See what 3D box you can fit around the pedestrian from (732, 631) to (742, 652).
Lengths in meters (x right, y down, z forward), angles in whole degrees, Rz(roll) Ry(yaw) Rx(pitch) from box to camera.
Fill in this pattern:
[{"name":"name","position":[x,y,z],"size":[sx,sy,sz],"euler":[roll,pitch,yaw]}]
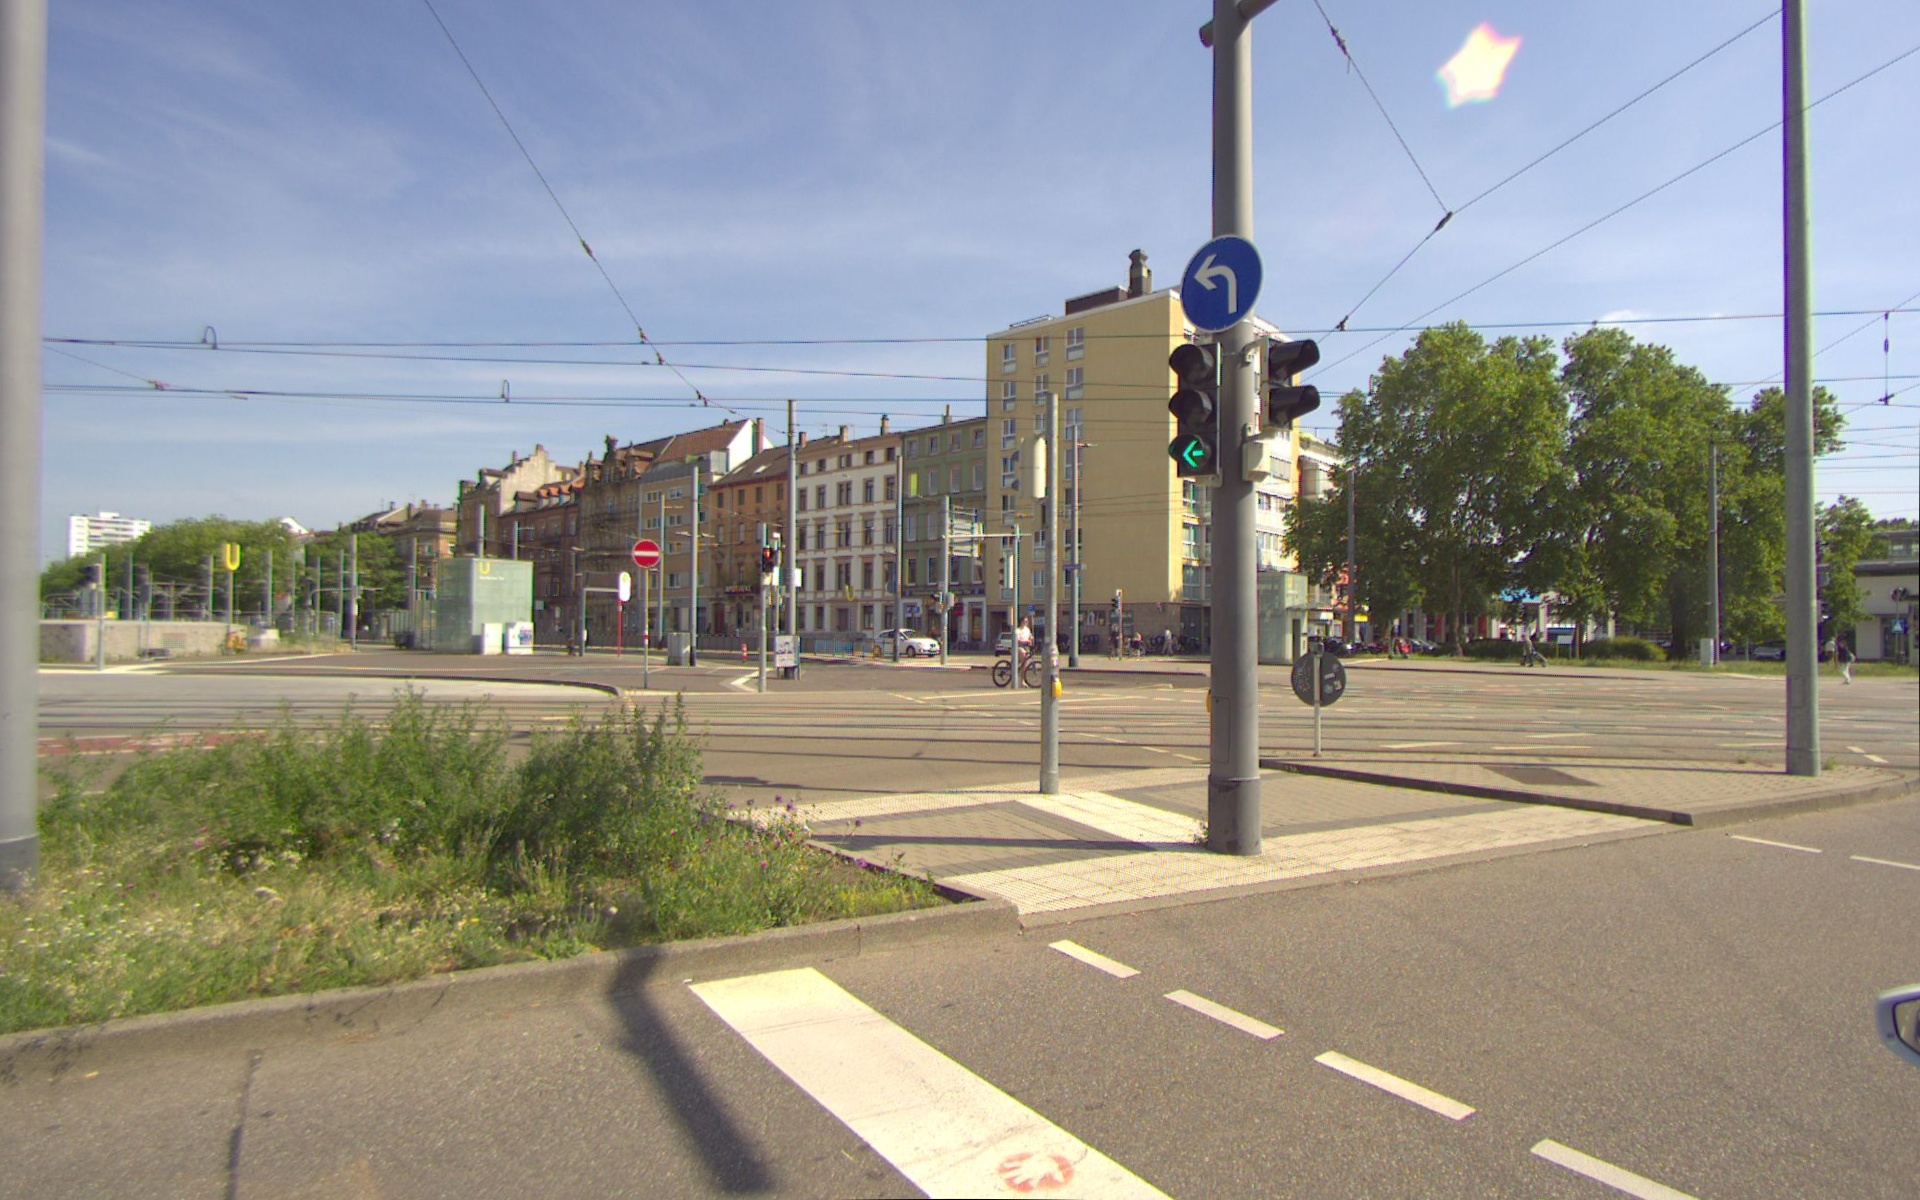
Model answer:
[{"name":"pedestrian","position":[-18.111,3.406,81.600],"size":[0.518,1.687,0.551],"euler":[-1,-2,42]}]

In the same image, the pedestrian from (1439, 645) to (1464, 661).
[{"name":"pedestrian","position":[28.266,3.051,57.778],"size":[1.159,0.904,0.819],"euler":[-1,-2,40]}]

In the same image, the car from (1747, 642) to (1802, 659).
[{"name":"car","position":[65.775,4.090,81.110],"size":[3.947,1.261,1.987],"euler":[2,0,-26]}]

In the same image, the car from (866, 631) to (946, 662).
[{"name":"car","position":[-2.816,2.388,51.826],"size":[4.066,1.417,1.750],"euler":[-1,1,42]}]

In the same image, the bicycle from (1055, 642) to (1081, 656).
[{"name":"bicycle","position":[7.330,3.296,68.361],"size":[1.732,0.928,0.581],"euler":[-2,-2,43]}]

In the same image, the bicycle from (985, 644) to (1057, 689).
[{"name":"bicycle","position":[1.529,1.694,25.501],"size":[0.745,1.098,1.827],"euler":[2,-4,-41]}]

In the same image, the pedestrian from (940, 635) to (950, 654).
[{"name":"pedestrian","position":[-1.139,3.396,76.472],"size":[0.637,1.392,0.524],"euler":[-1,-2,42]}]

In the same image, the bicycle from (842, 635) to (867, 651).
[{"name":"bicycle","position":[-7.260,2.969,69.323],"size":[0.589,1.109,1.739],"euler":[0,-2,42]}]

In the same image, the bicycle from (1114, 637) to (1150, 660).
[{"name":"bicycle","position":[8.967,2.524,52.359],"size":[1.776,1.145,0.748],"euler":[2,-2,-31]}]

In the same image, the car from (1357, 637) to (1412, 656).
[{"name":"car","position":[34.486,3.771,81.652],"size":[3.683,1.358,1.734],"euler":[2,-1,43]}]

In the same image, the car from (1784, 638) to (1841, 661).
[{"name":"car","position":[67.280,3.909,79.276],"size":[3.947,1.706,1.987],"euler":[2,0,-26]}]

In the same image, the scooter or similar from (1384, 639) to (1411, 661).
[{"name":"scooter or similar","position":[23.135,2.655,53.112],"size":[0.509,1.134,1.358],"euler":[1,-2,-20]}]

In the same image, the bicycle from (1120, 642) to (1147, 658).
[{"name":"bicycle","position":[11.158,3.223,64.733],"size":[0.580,0.978,1.735],"euler":[1,-2,-42]}]

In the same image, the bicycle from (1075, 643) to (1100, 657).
[{"name":"bicycle","position":[8.549,3.334,67.283],"size":[0.579,0.928,1.737],"euler":[1,-2,-40]}]

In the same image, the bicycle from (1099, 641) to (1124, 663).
[{"name":"bicycle","position":[8.117,2.786,53.779],"size":[0.574,1.145,1.791],"euler":[-1,-3,36]}]

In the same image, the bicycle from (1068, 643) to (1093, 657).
[{"name":"bicycle","position":[8.044,3.312,67.043],"size":[0.579,0.928,1.737],"euler":[1,-2,-40]}]

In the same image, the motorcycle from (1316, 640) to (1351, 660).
[{"name":"motorcycle","position":[20.785,2.786,55.927],"size":[0.631,1.076,2.027],"euler":[1,-2,-22]}]

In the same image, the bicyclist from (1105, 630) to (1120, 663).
[{"name":"bicyclist","position":[8.144,2.472,53.613],"size":[0.574,1.757,0.615],"euler":[-1,-3,36]}]

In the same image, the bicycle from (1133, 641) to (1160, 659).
[{"name":"bicycle","position":[11.745,3.137,63.376],"size":[0.578,1.100,1.739],"euler":[-2,0,-35]}]

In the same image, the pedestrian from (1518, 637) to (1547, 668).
[{"name":"pedestrian","position":[27.010,2.467,47.398],"size":[1.100,1.422,0.654],"euler":[2,0,38]}]

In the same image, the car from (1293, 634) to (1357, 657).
[{"name":"car","position":[26.250,3.272,72.308],"size":[3.944,1.459,1.880],"euler":[2,-1,43]}]

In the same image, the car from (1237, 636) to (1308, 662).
[{"name":"car","position":[20.032,3.128,64.505],"size":[4.036,1.489,1.651],"euler":[-1,-5,43]}]

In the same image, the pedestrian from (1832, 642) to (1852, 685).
[{"name":"pedestrian","position":[34.013,2.452,38.727],"size":[0.446,1.626,0.400],"euler":[2,0,23]}]

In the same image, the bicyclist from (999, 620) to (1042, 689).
[{"name":"bicyclist","position":[1.533,1.379,25.494],"size":[0.746,1.706,0.767],"euler":[2,-4,-41]}]

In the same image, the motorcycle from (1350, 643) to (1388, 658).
[{"name":"motorcycle","position":[24.261,2.991,59.557],"size":[1.997,0.853,0.641],"euler":[0,-2,3]}]

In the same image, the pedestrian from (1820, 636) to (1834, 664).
[{"name":"pedestrian","position":[51.251,2.927,59.371],"size":[0.455,1.617,0.393],"euler":[2,0,-7]}]

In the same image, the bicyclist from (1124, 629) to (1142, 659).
[{"name":"bicyclist","position":[9.018,2.298,52.416],"size":[0.606,1.593,0.727],"euler":[2,-3,-30]}]

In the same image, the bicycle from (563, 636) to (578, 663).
[{"name":"bicycle","position":[-16.989,2.138,43.822],"size":[0.409,1.085,1.651],"euler":[1,0,-29]}]

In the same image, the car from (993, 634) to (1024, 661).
[{"name":"car","position":[2.933,2.856,60.324],"size":[1.777,1.458,4.003],"euler":[1,-4,3]}]

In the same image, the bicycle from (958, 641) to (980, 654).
[{"name":"bicycle","position":[0.684,3.522,74.516],"size":[1.754,0.977,0.412],"euler":[-2,0,42]}]

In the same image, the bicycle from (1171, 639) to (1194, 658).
[{"name":"bicycle","position":[14.218,3.096,64.201],"size":[0.534,1.201,1.878],"euler":[-1,-2,44]}]

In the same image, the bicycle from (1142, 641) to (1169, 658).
[{"name":"bicycle","position":[12.368,3.151,63.611],"size":[0.579,1.056,1.736],"euler":[1,-2,-41]}]
